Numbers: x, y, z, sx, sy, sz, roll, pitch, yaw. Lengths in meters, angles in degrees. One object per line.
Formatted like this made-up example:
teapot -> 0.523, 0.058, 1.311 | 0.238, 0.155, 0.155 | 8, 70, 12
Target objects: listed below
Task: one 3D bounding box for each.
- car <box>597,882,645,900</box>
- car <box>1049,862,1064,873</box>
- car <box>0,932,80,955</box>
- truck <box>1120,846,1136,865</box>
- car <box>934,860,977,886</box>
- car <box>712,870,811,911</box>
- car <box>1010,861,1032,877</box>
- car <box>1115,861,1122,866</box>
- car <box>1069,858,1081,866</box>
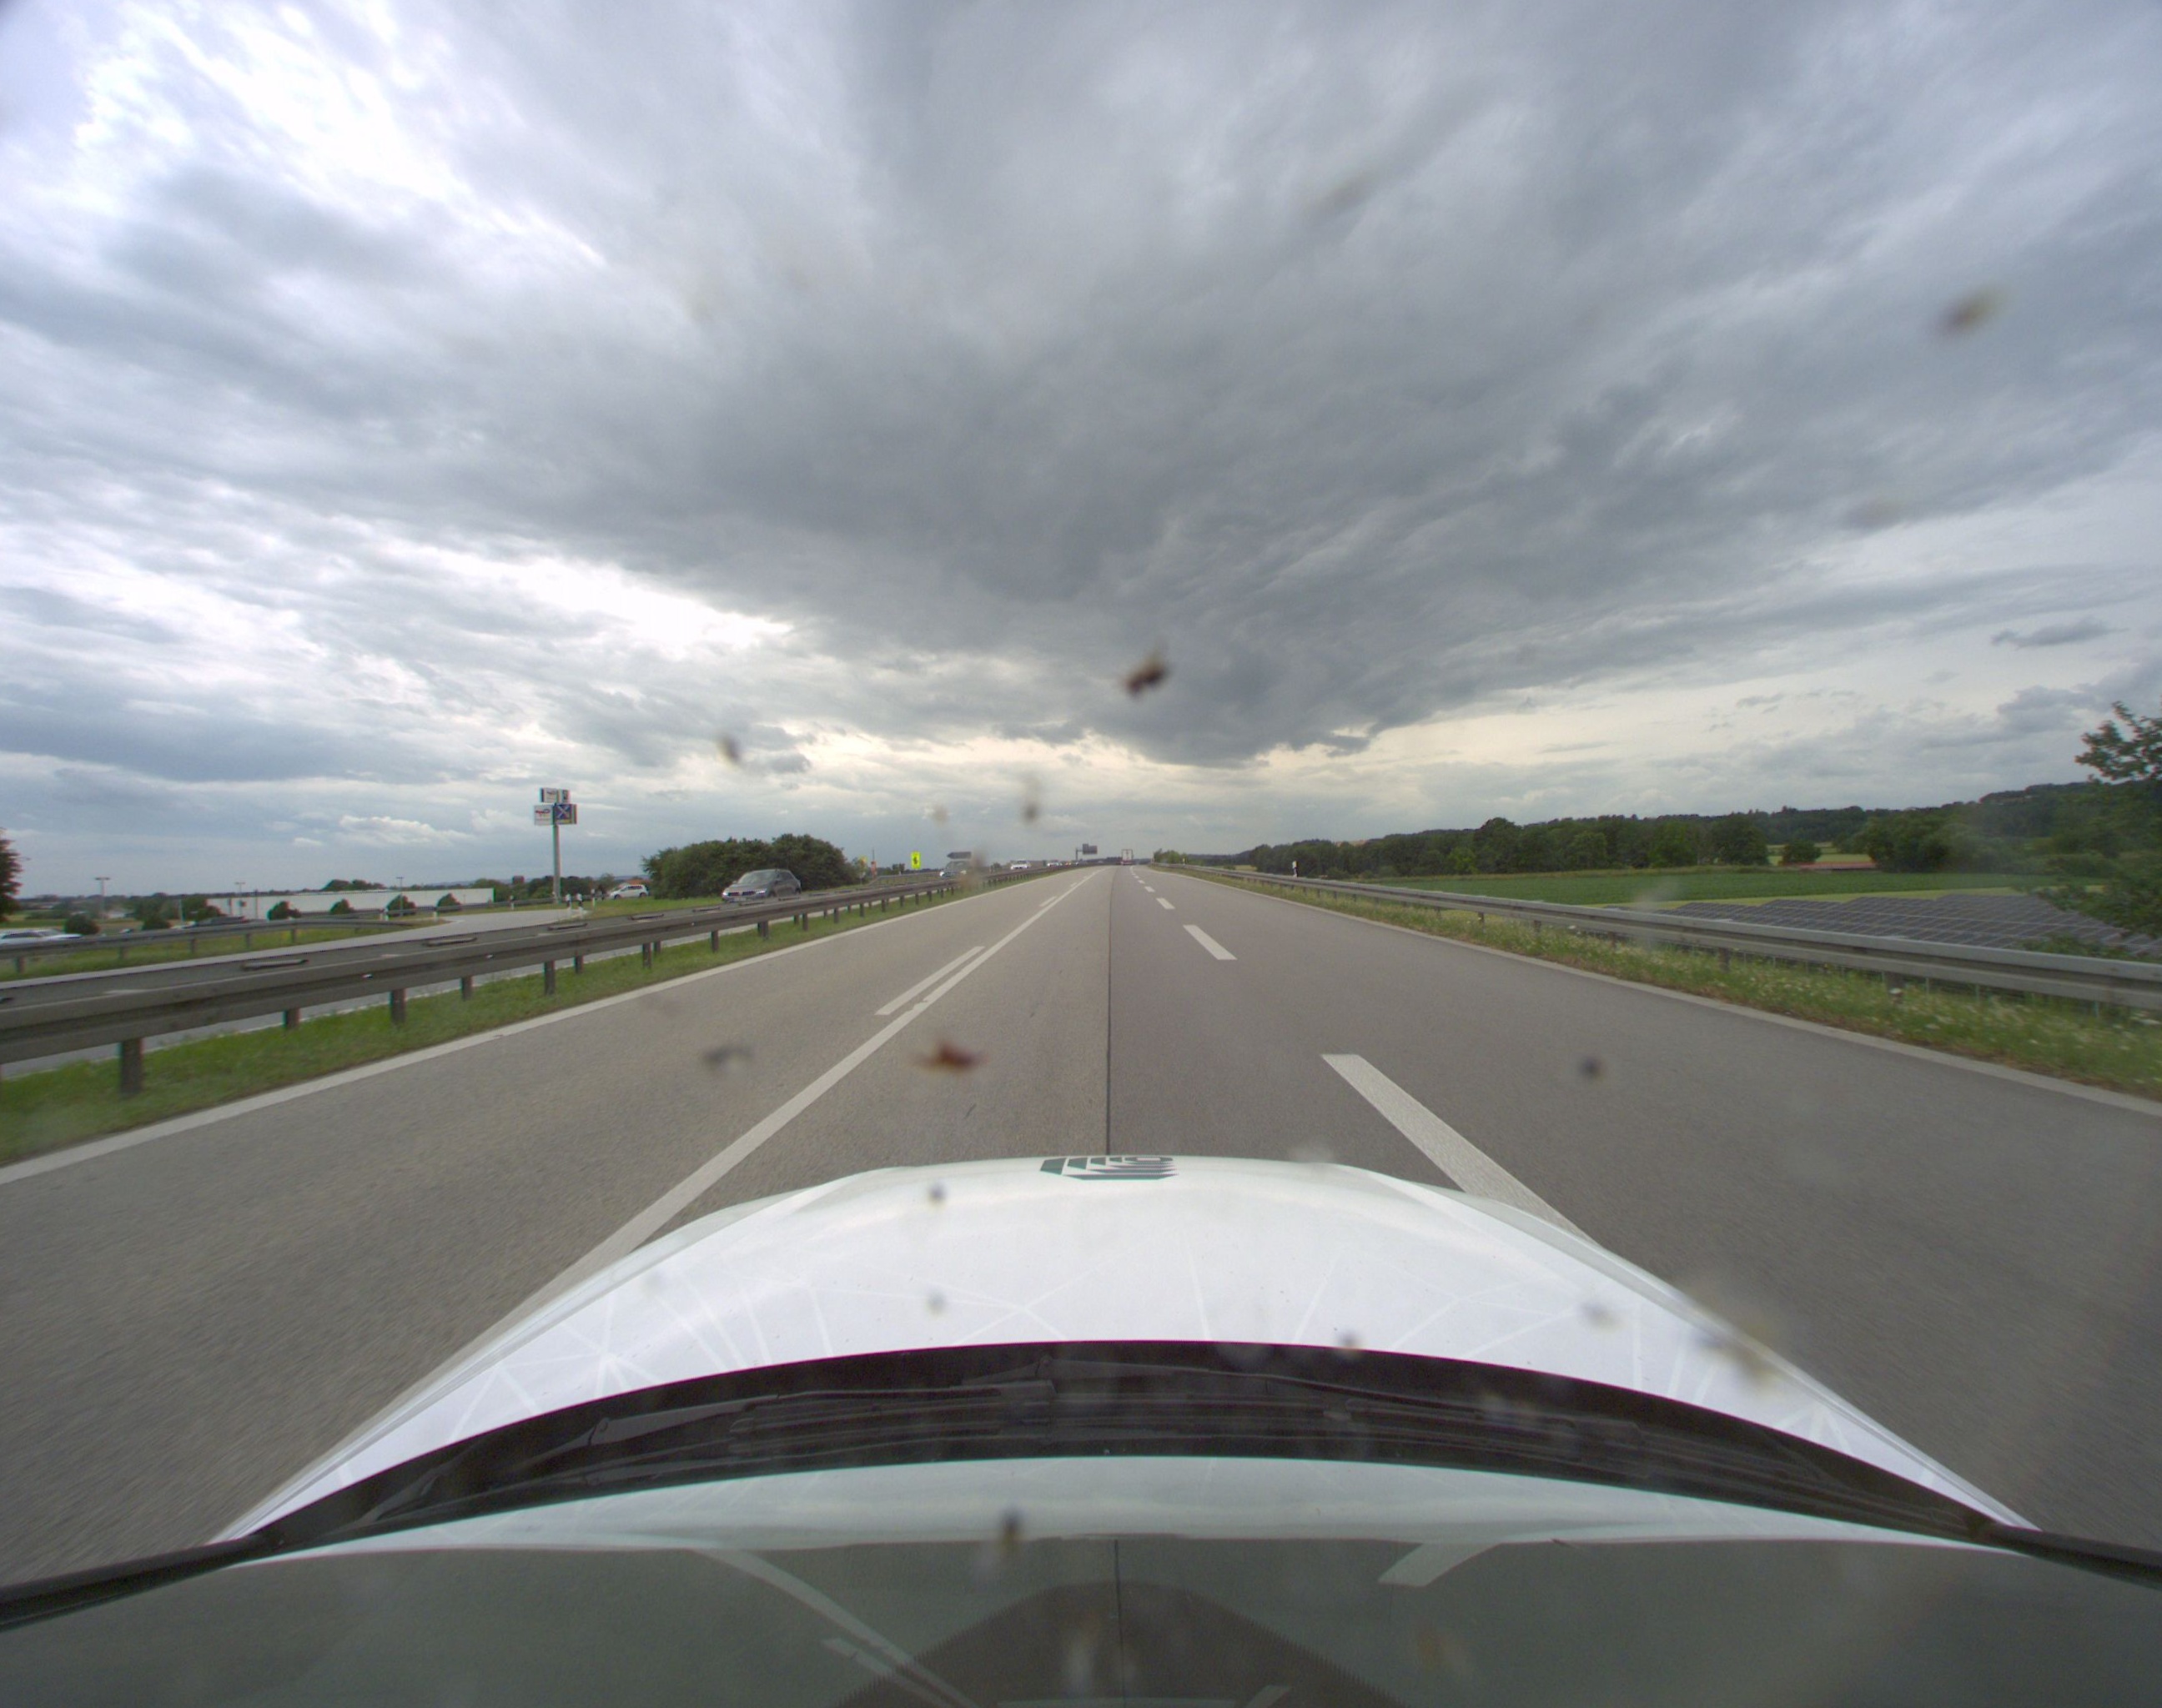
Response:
car -> -48.574, 3.892, 86.070 | 4.023, 1.300, 1.864 | -6, 5, -42
car -> -3.818, 2.053, 128.529 | 1.884, 1.588, 4.765 | -3, 0, 2
car -> -79.227, 6.725, 61.443 | 4.284, 1.473, 1.910 | 1, -1, -14
truck -> 12.568, 0.496, 216.417 | 3.655, 4.413, 16.361 | -2, -2, 5
car -> -8.404, 1.255, 55.000 | 1.884, 1.588, 4.765 | -3, 0, 2
car -> -12.507, 1.378, 32.265 | 1.818, 1.345, 4.786 | -3, 0, 2
car -> -6.439, 1.553, 87.969 | 1.846, 1.588, 4.819 | -3, 0, 2
car -> 11.566, 2.983, 251.731 | 1.986, 1.420, 4.002 | -1, 0, 2
car -> -1.237, 1.675, 172.903 | 2.127, 1.588, 5.002 | -3, 0, 2
